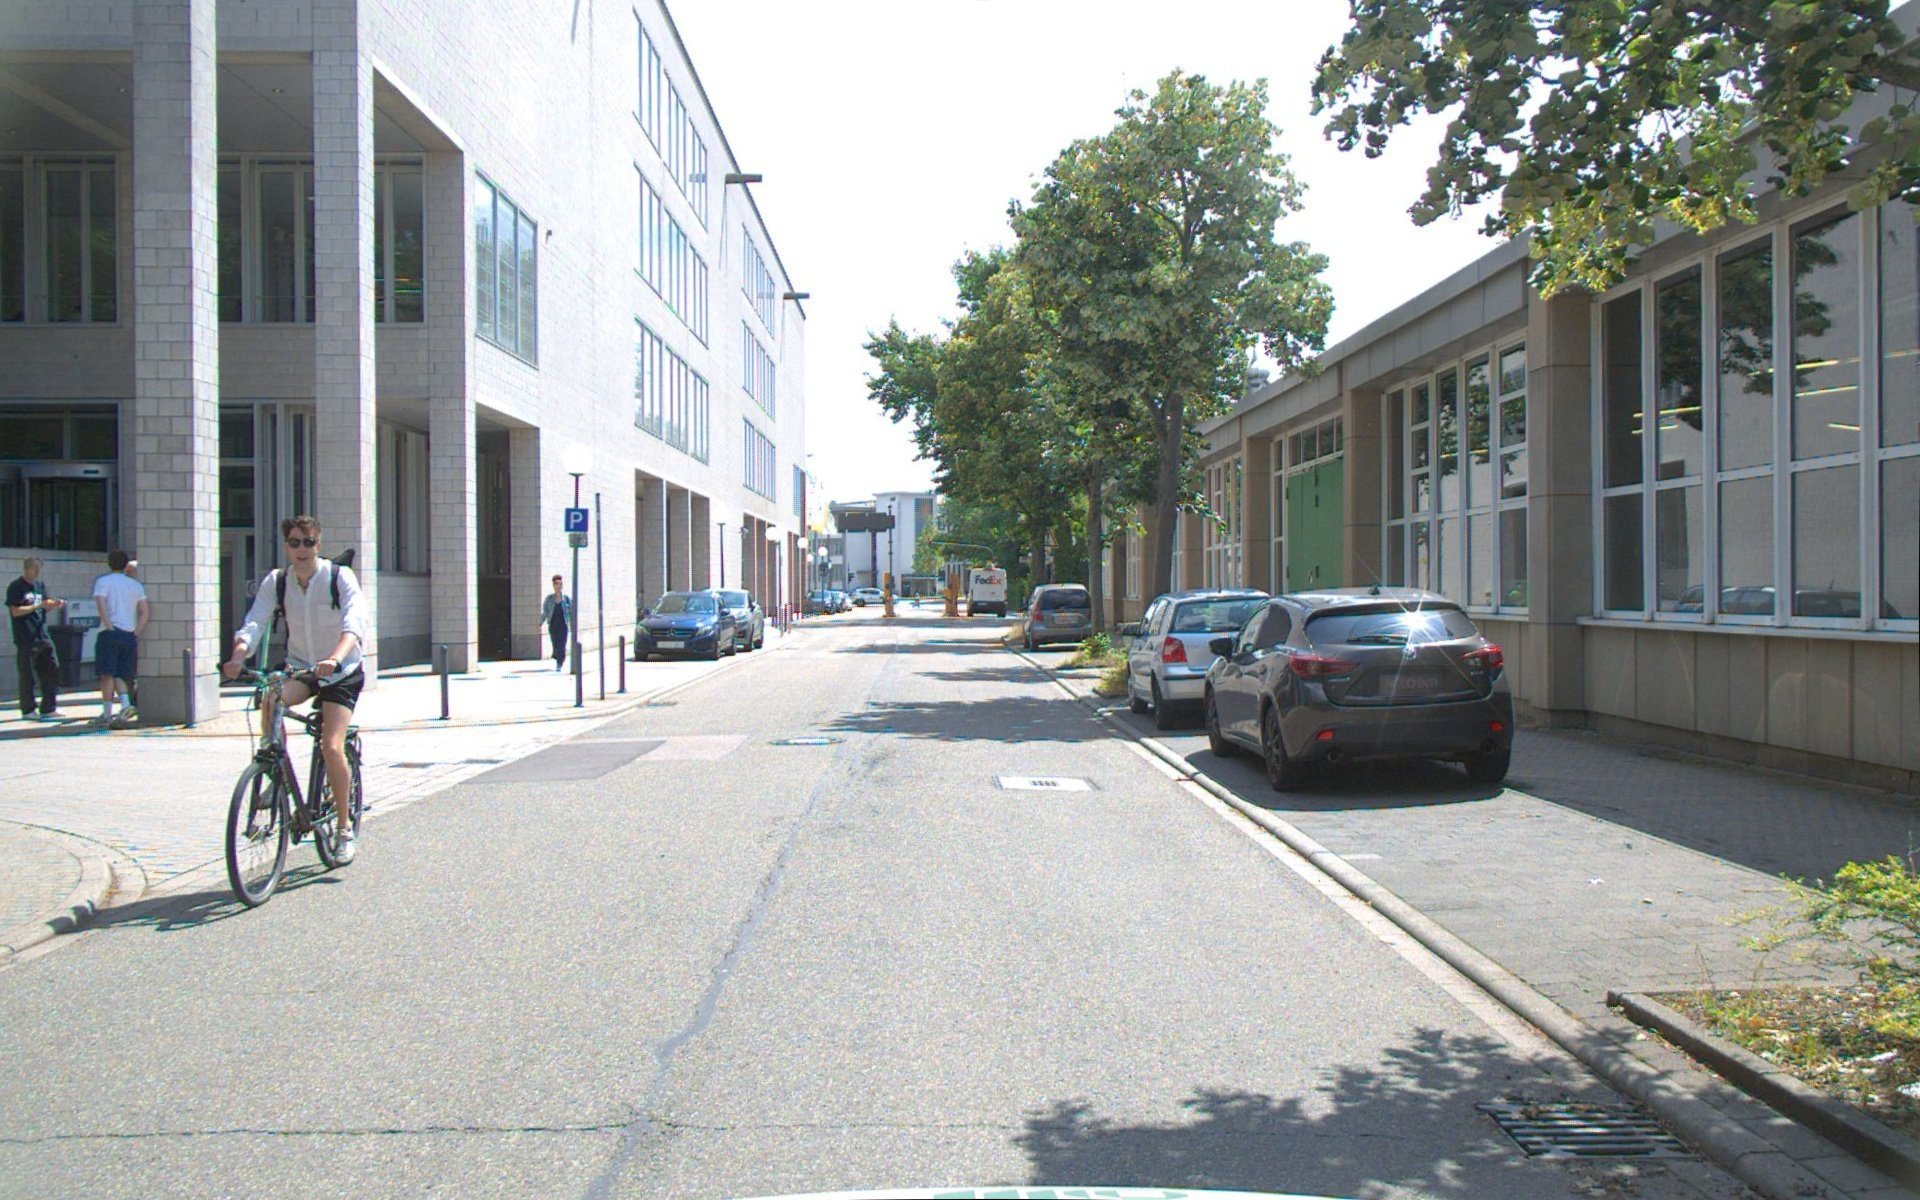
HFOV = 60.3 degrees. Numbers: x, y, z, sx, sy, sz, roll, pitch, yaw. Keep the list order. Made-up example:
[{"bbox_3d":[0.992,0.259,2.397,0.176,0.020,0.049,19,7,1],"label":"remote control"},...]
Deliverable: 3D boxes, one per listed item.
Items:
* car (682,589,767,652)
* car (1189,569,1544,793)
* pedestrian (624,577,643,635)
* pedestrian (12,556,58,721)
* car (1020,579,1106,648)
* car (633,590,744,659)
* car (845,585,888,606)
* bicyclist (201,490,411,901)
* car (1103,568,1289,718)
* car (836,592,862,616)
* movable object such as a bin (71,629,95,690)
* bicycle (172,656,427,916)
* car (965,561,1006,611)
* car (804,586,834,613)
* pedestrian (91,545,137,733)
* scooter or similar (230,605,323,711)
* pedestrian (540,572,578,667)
[{"bbox_3d":[-5.955,0.500,42.174,1.597,1.511,4.177,0,0,-1],"label":"car"},{"bbox_3d":[3.153,0.546,13.795,1.744,1.502,4.461,-2,0,-1],"label":"car"},{"bbox_3d":[-10.645,0.210,53.940,0.501,1.873,0.735,-1,-2,-2],"label":"pedestrian"},{"bbox_3d":[-10.322,0.420,18.454,0.436,1.806,0.446,0,0,-32],"label":"pedestrian"},{"bbox_3d":[2.546,0.305,41.634,1.821,1.601,3.999,-2,0,-1],"label":"car"},{"bbox_3d":[-5.996,0.523,36.922,1.730,1.452,4.234,0,0,0],"label":"car"},{"bbox_3d":[-8.714,-0.382,154.725,3.905,1.937,1.797,0,0,0],"label":"car"},{"bbox_3d":[-3.469,0.475,8.863,0.697,2.049,1.018,-2,0,-3],"label":"bicyclist"},{"bbox_3d":[2.642,0.437,19.271,1.583,1.565,3.779,0,0,-1],"label":"car"},{"bbox_3d":[-7.618,0.274,114.136,1.612,1.524,3.727,-1,-1,-1],"label":"car"},{"bbox_3d":[-13.446,0.909,25.350,0.165,0.910,0.448,0,0,-6],"label":"movable object such as a bin"},{"bbox_3d":[-3.458,0.921,8.843,0.671,1.149,1.887,-1,0,-3],"label":"bicycle"},{"bbox_3d":[1.356,-0.748,89.091,2.041,2.584,4.314,0,0,-1],"label":"car"},{"bbox_3d":[-8.687,-0.008,102.204,1.612,1.524,3.727,-1,-1,-1],"label":"car"},{"bbox_3d":[-9.111,0.408,17.808,0.408,1.975,0.656,0,0,-30],"label":"pedestrian"},{"bbox_3d":[-8.454,0.689,20.501,0.445,1.245,1.549,0,0,3],"label":"scooter or similar"},{"bbox_3d":[-7.376,0.349,30.451,0.638,1.731,0.887,0,0,-12],"label":"pedestrian"}]
